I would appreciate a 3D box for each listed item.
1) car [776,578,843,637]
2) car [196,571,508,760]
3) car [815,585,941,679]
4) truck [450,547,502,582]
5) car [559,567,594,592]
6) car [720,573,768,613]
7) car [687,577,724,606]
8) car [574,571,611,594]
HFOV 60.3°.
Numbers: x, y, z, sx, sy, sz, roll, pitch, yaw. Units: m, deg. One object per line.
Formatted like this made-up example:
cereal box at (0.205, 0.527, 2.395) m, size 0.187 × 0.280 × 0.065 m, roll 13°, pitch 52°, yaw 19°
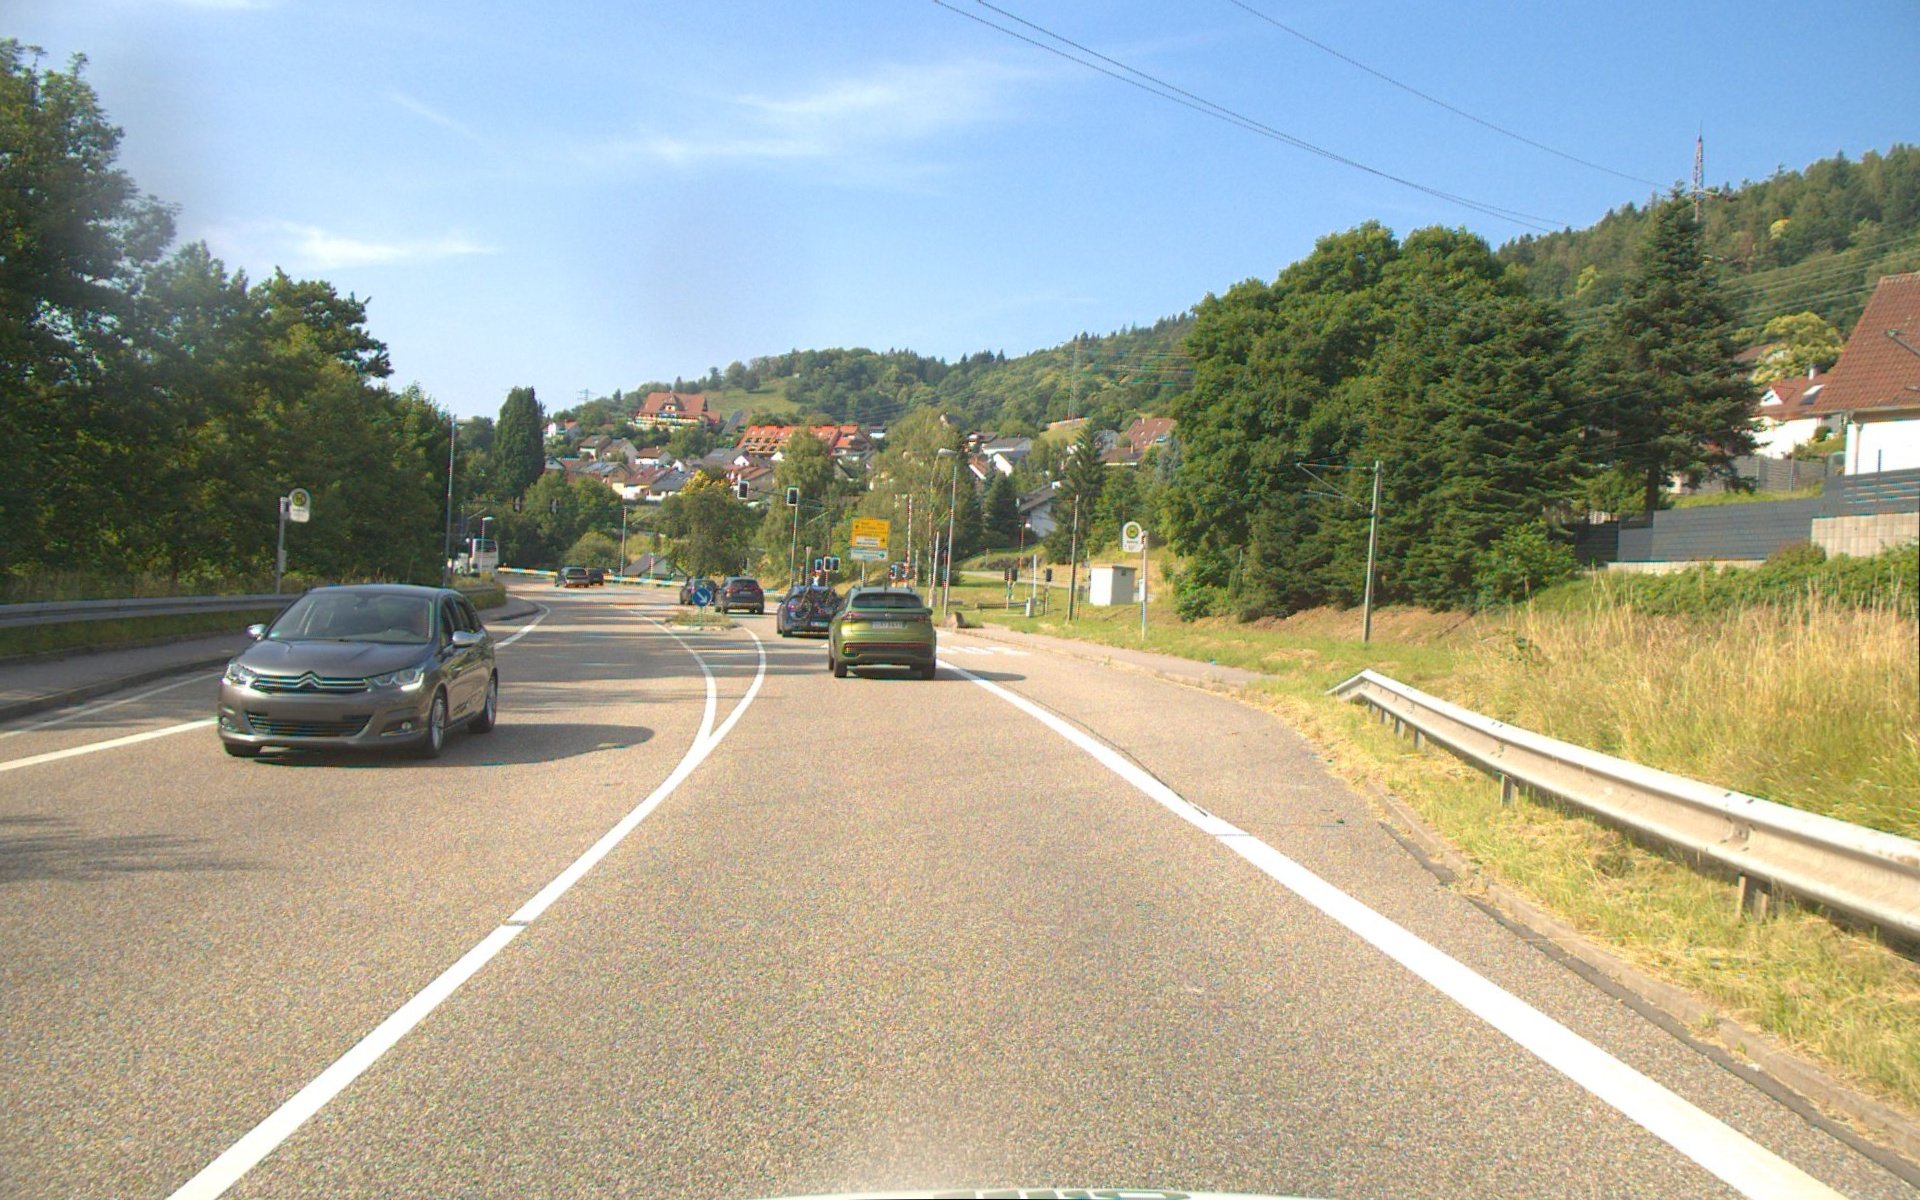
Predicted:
car at (-4.323, 0.191, 47.063) m, size 1.636 × 1.586 × 3.992 m, roll 1°, pitch 0°, yaw -9°
car at (-5.466, 0.527, 15.406) m, size 1.855 × 1.514 × 3.994 m, roll 0°, pitch 0°, yaw -7°
car at (-1.489, 0.497, 28.631) m, size 1.683 × 1.480 × 3.991 m, roll 1°, pitch 1°, yaw -10°
truck at (-46.387, -3.387, 158.494) m, size 2.692 × 3.138 × 6.026 m, roll 3°, pitch 0°, yaw -38°
car at (-30.691, -1.664, 132.200) m, size 2.035 × 1.842 × 3.972 m, roll 1°, pitch 1°, yaw -23°
car at (-9.844, -0.319, 75.232) m, size 1.847 × 1.716 × 3.988 m, roll 1°, pitch 0°, yaw -12°
car at (-14.200, -0.462, 92.256) m, size 1.816 × 1.553 × 3.651 m, roll 1°, pitch 1°, yaw -12°
car at (-31.440, -1.518, 141.473) m, size 1.973 × 1.775 × 3.958 m, roll 2°, pitch 1°, yaw -31°
